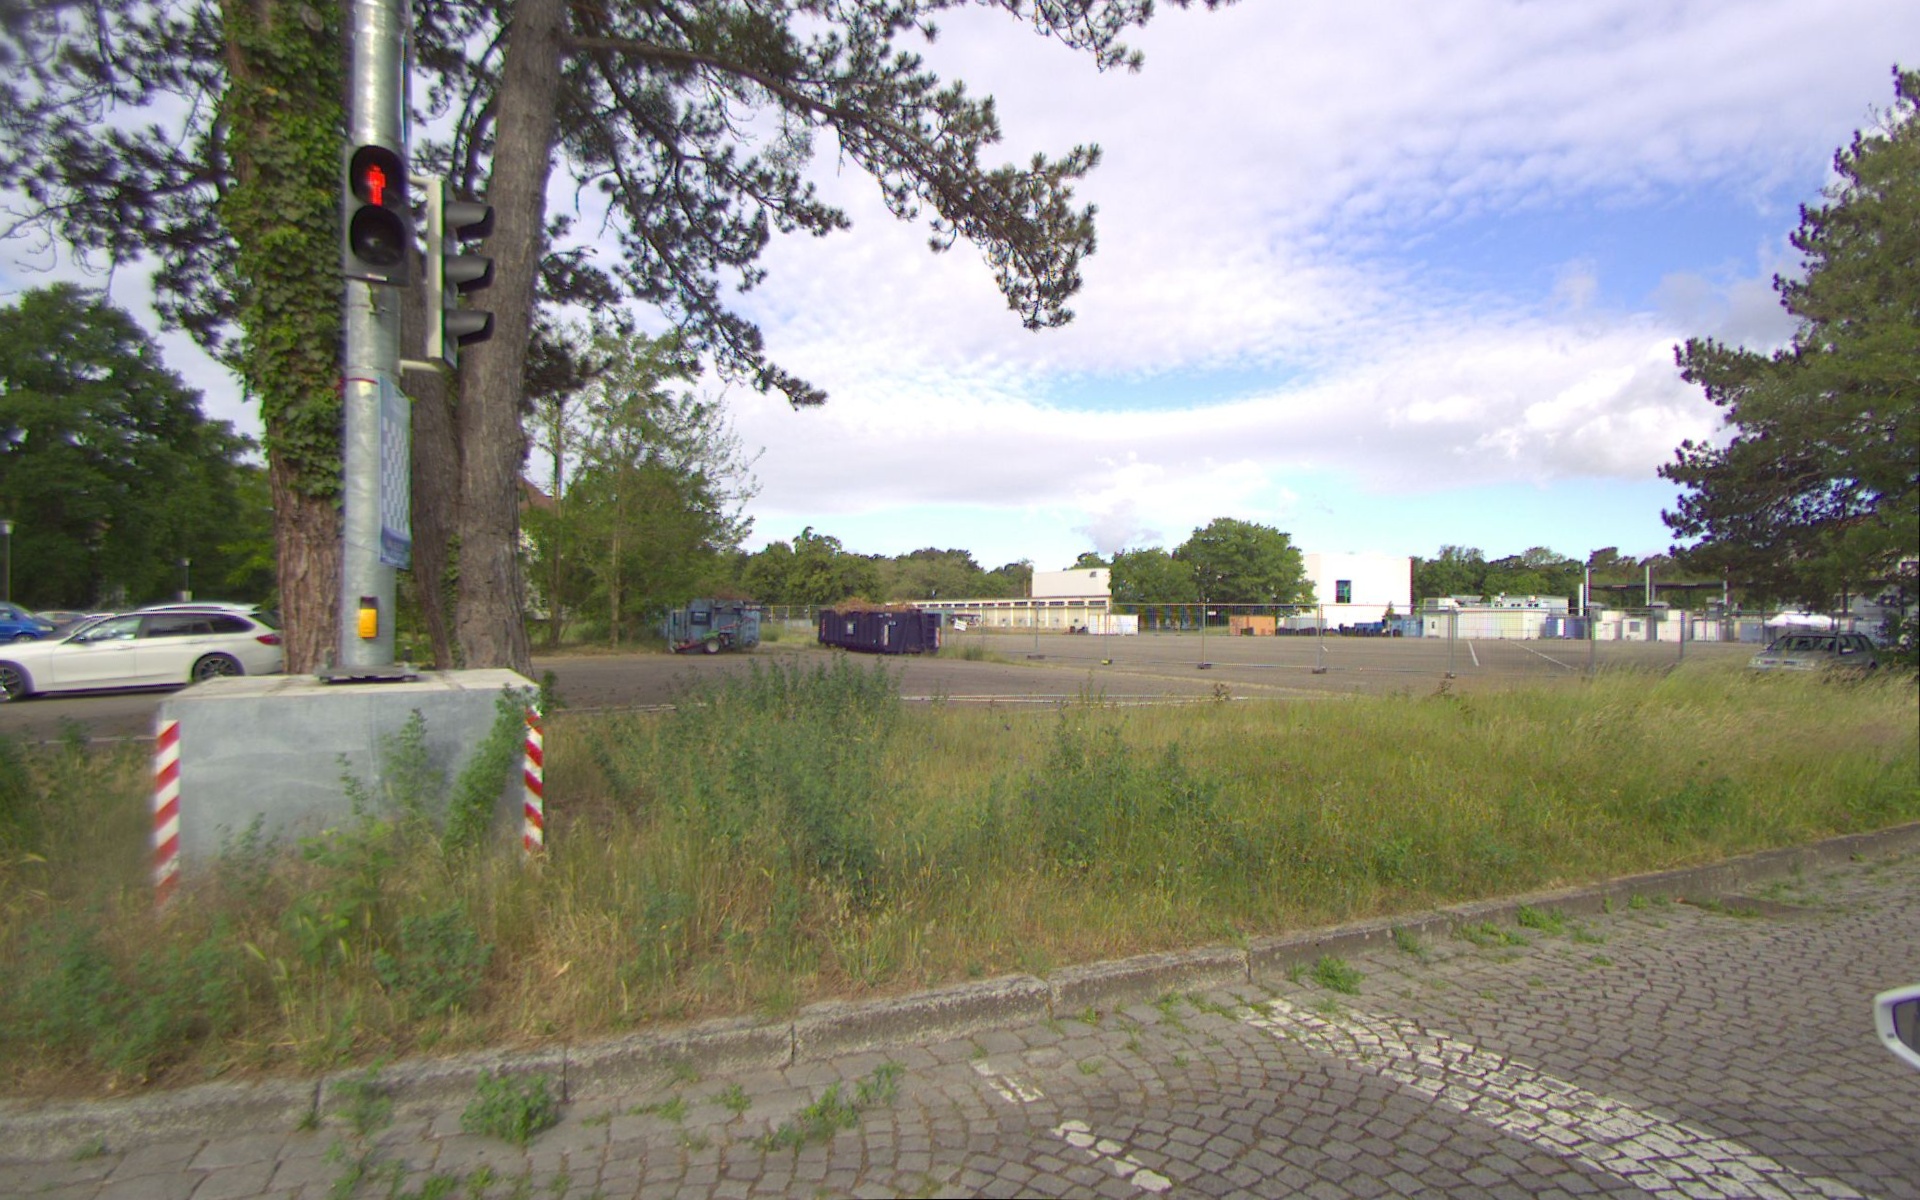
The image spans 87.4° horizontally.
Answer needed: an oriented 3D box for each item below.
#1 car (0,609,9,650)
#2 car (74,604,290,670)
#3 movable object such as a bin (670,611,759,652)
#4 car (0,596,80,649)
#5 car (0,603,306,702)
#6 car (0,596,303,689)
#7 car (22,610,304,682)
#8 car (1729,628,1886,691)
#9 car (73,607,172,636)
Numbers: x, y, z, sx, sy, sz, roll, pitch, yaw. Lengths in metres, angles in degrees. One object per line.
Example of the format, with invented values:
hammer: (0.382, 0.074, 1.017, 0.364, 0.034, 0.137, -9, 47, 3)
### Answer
car: (-35.898, 1.007, 34.797, 3.886, 1.468, 1.784, 1, -1, -28)
car: (-18.639, 0.888, 24.317, 3.943, 1.475, 1.666, 1, -1, -33)
movable object such as a bin: (-7.703, 0.983, 31.499, 2.508, 1.228, 1.162, 1, -1, -29)
car: (-38.068, 0.860, 39.467, 4.777, 2.040, 1.988, 1, -1, -24)
car: (-14.406, 0.858, 17.611, 4.764, 1.459, 1.898, -2, 0, -31)
car: (-15.700, 0.762, 19.853, 4.437, 1.611, 1.831, -1, 0, -32)
car: (-17.226, 0.974, 22.067, 4.581, 1.441, 1.870, 1, -1, -31)
car: (22.469, 1.528, 26.601, 4.319, 1.496, 1.909, 1, -1, -31)
car: (-46.908, 1.217, 56.386, 3.954, 1.590, 1.983, 1, -1, -31)
